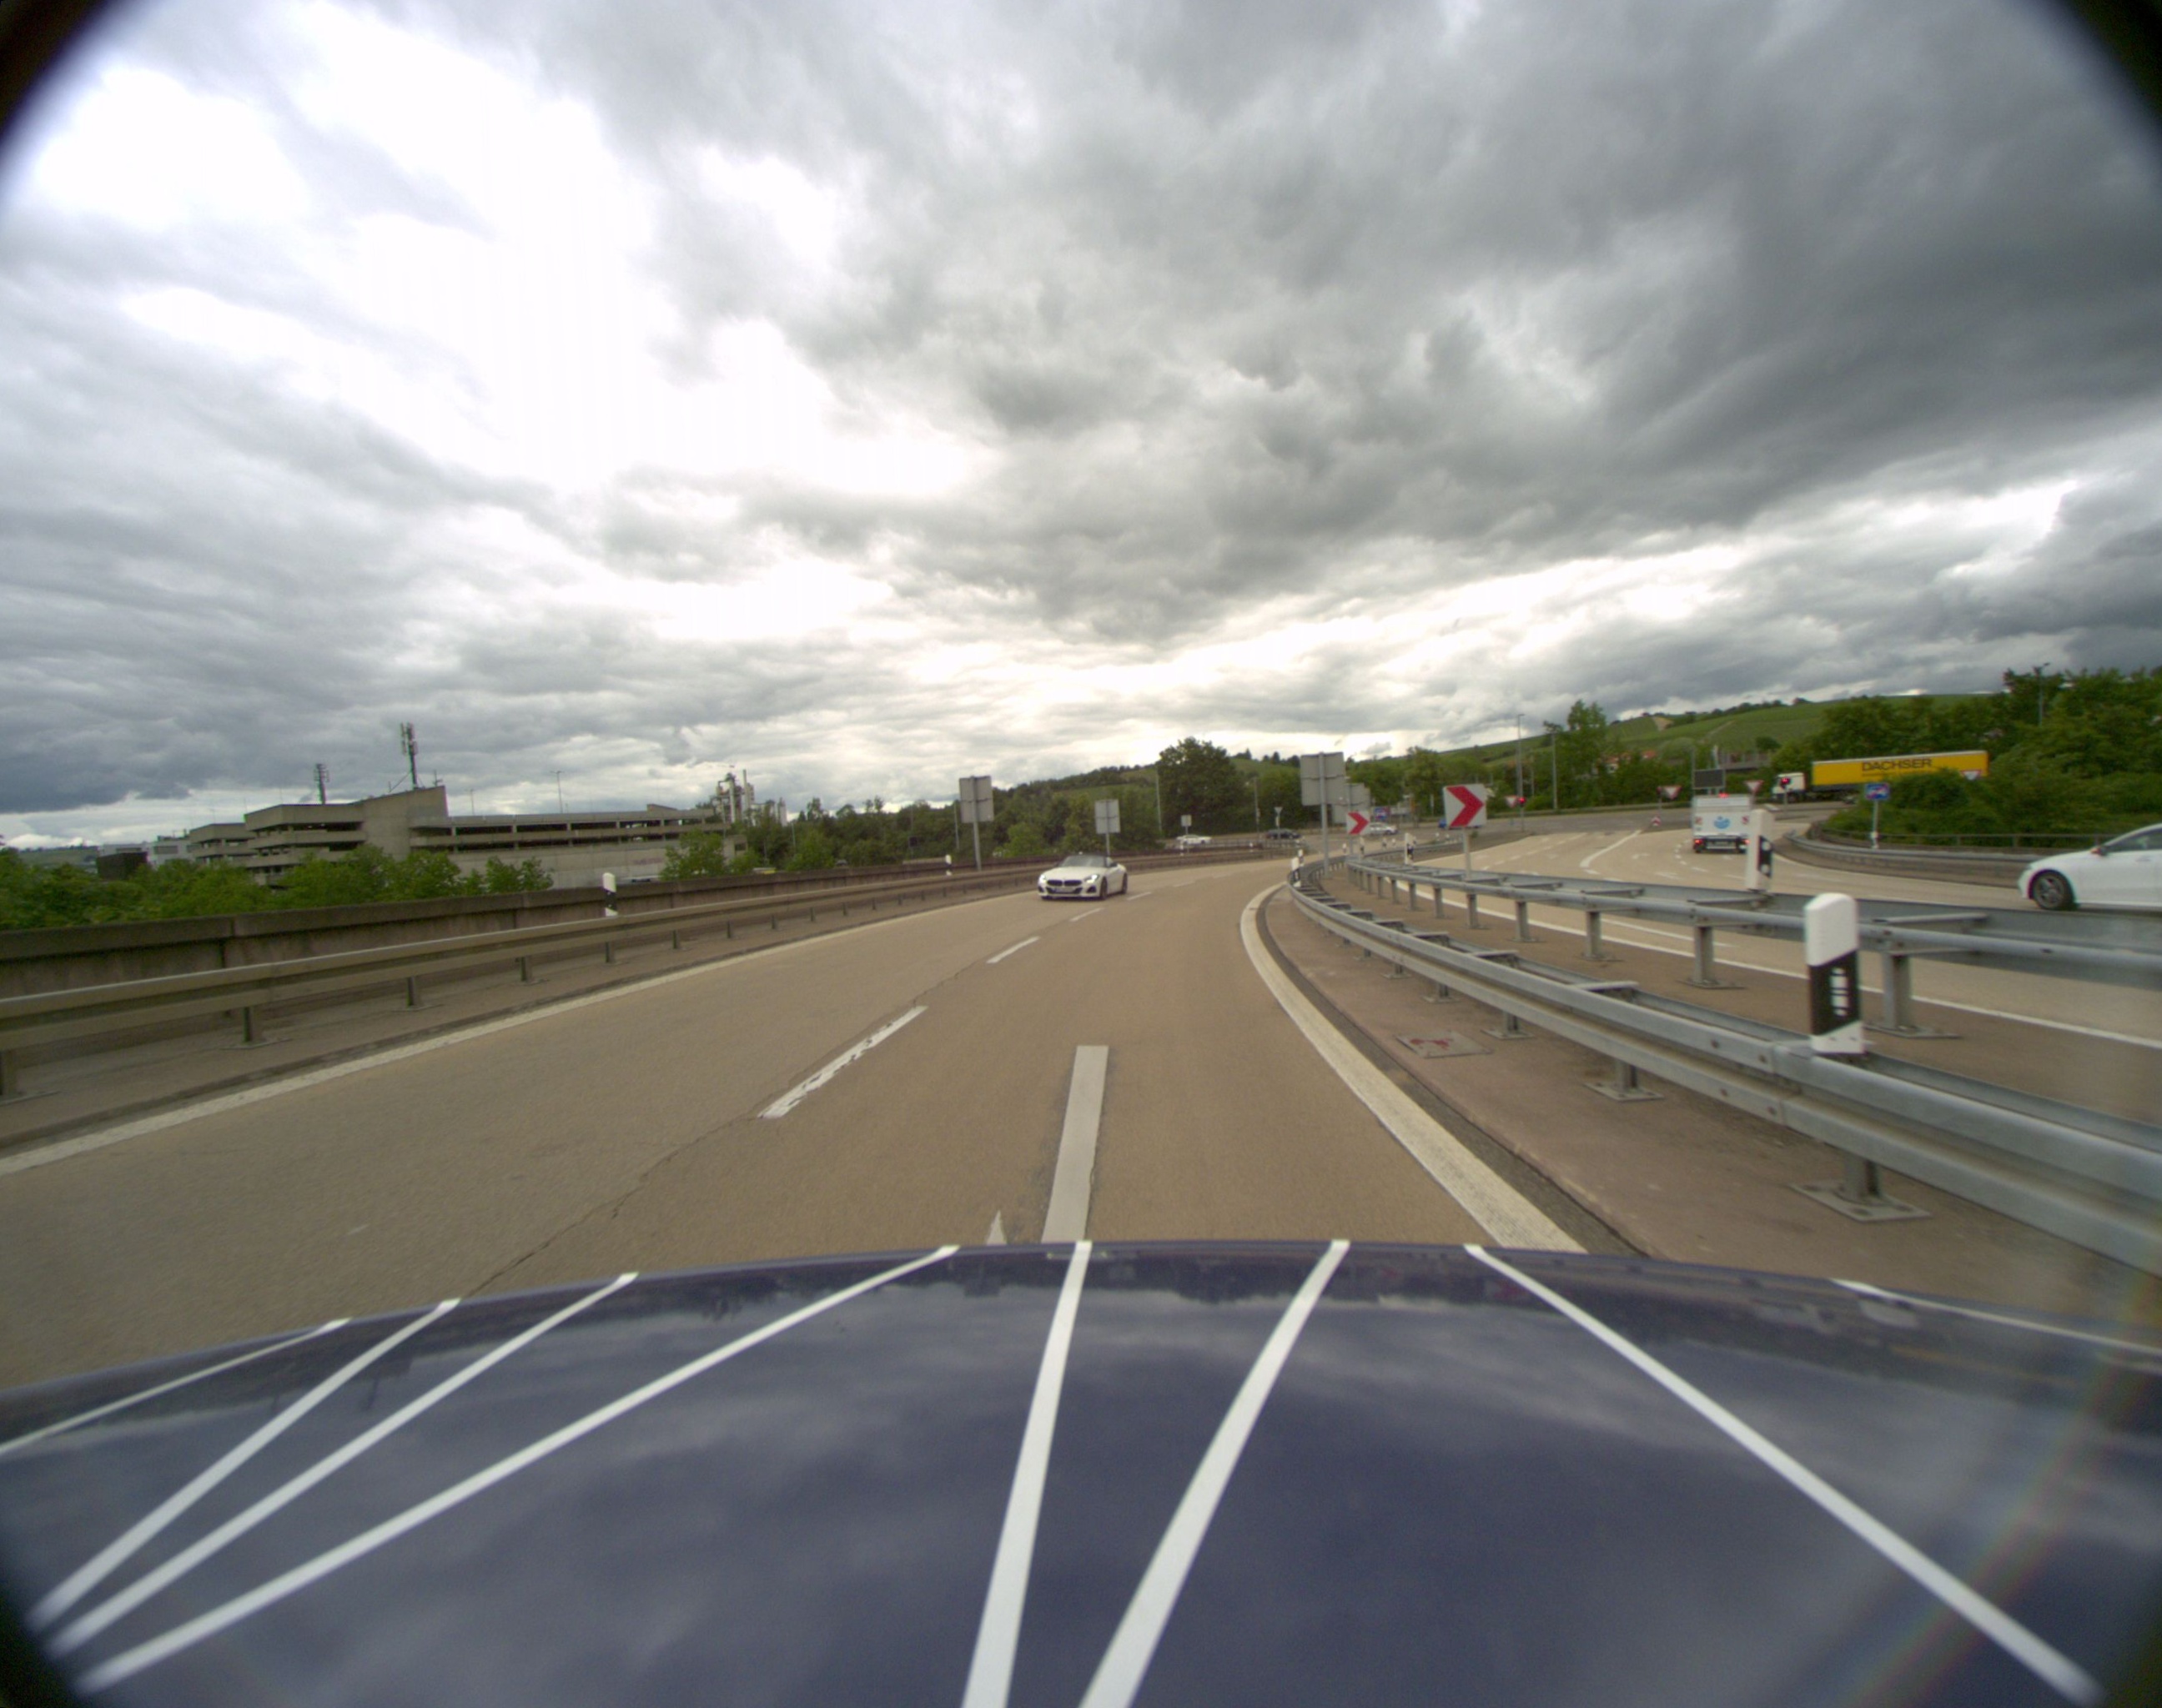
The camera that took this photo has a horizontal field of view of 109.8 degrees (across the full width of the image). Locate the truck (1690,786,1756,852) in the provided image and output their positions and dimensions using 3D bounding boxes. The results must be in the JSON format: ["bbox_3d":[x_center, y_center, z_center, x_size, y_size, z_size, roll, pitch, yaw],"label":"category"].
[{"bbox_3d":[34.346,-1.943,40.823,2.346,3.246,7.006,0,4,37],"label":"truck"}]

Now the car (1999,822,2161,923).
[{"bbox_3d":[16.055,0.261,10.595,1.913,1.406,4.369,0,1,14],"label":"car"}]

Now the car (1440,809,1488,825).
[{"bbox_3d":[43.384,-4.164,86.157,4.530,1.446,1.612,-3,5,42],"label":"car"}]

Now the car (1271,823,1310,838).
[{"bbox_3d":[26.926,-2.970,97.631,4.283,1.548,1.950,-3,4,40],"label":"car"}]

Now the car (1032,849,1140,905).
[{"bbox_3d":[0.305,0.615,23.165,1.860,1.337,4.829,0,3,18],"label":"car"}]

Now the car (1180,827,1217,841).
[{"bbox_3d":[16.534,-2.812,106.814,4.703,1.552,1.880,-3,4,41],"label":"car"}]

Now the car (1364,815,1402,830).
[{"bbox_3d":[35.606,-3.664,89.493,3.739,1.367,1.631,-3,4,41],"label":"car"}]

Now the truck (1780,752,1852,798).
[{"bbox_3d":[75.360,-8.065,78.040,5.088,4.182,2.639,-2,5,41],"label":"truck"}]

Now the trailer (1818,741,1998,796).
[{"bbox_3d":[79.970,-8.222,74.021,11.624,4.182,2.639,-2,4,41],"label":"trailer"}]
